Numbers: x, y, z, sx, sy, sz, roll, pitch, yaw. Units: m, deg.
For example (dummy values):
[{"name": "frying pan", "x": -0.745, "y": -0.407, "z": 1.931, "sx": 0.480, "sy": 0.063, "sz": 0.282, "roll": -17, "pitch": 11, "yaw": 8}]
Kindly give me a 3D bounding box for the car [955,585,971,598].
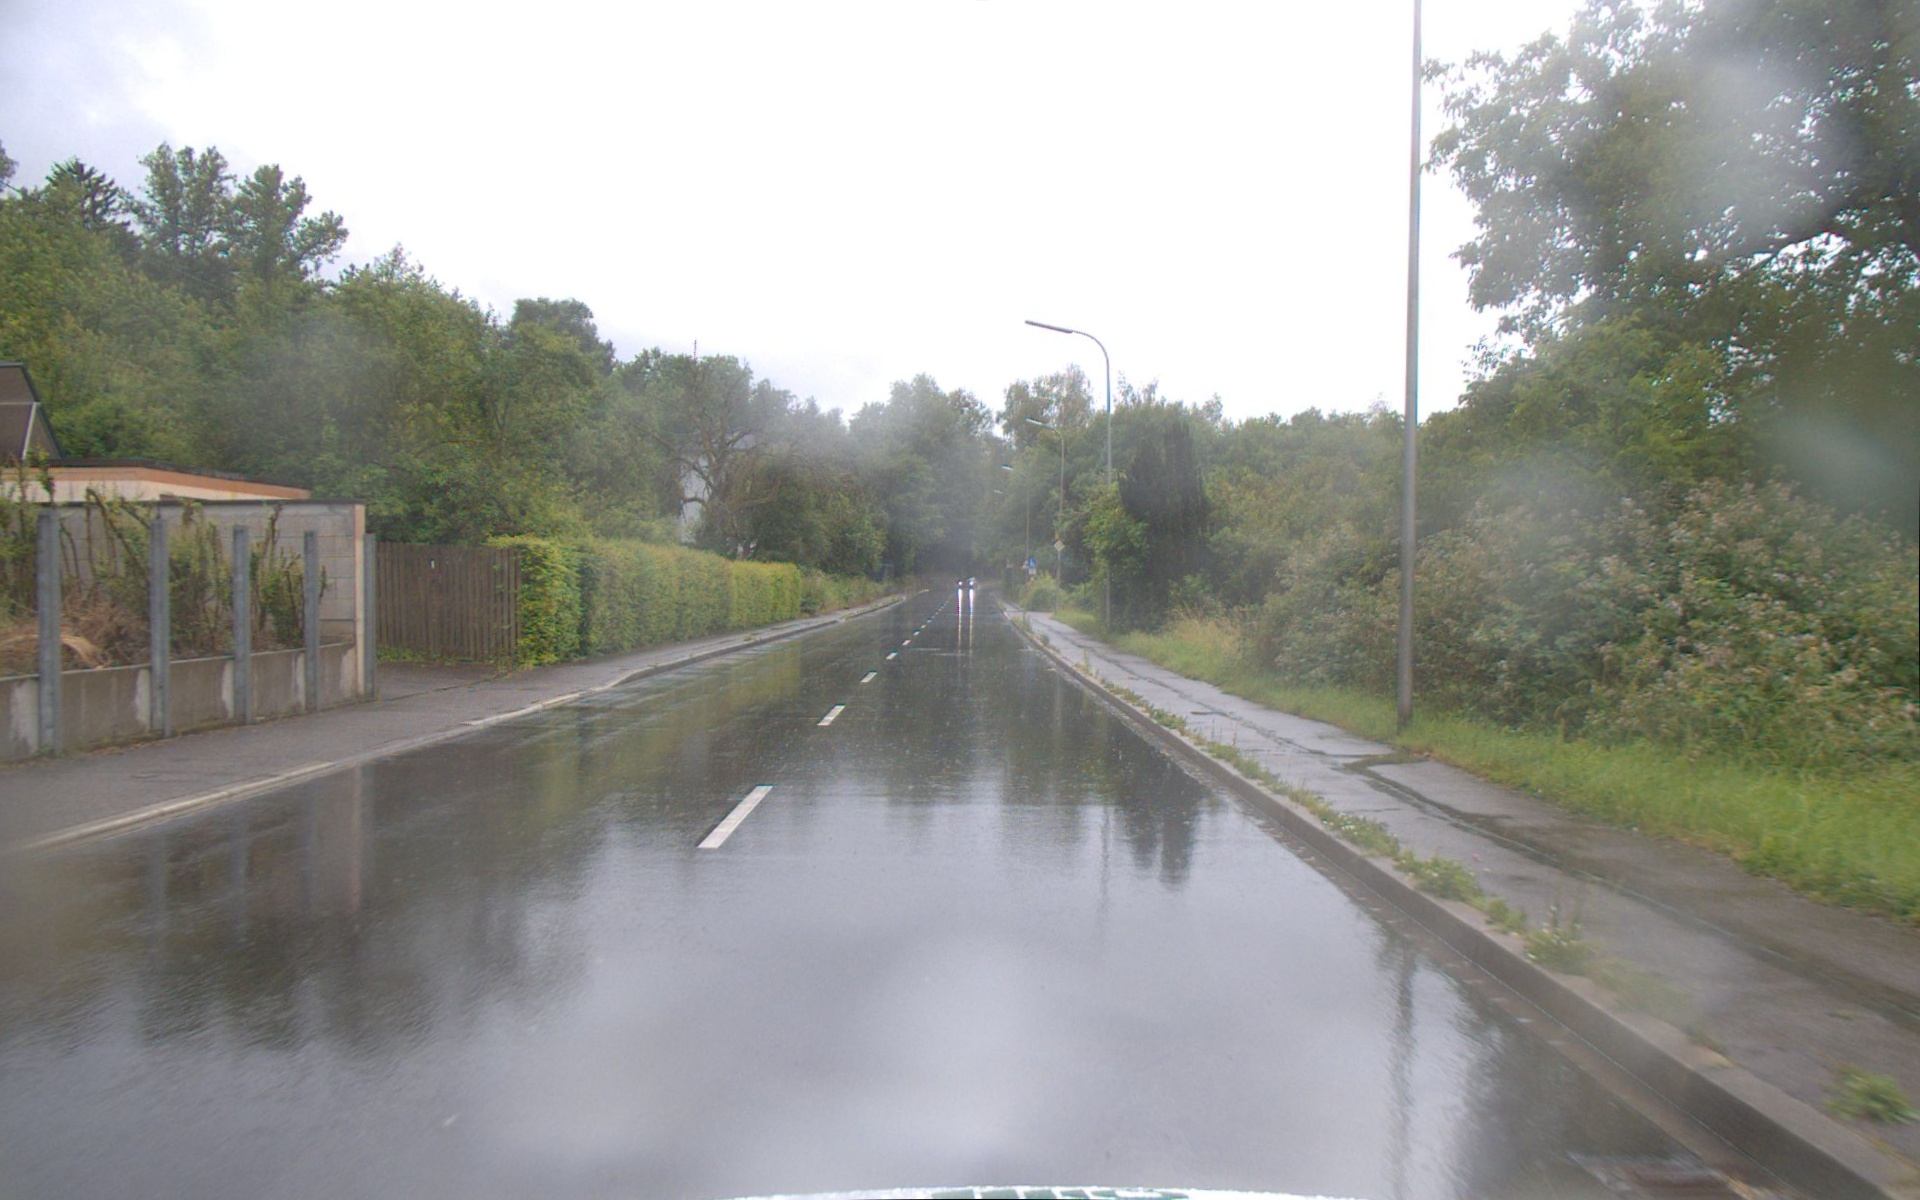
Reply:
[{"name": "car", "x": 0.349, "y": -1.000, "z": 203.224, "sx": 1.952, "sy": 1.479, "sz": 4.428, "roll": 1, "pitch": 1, "yaw": 0}]
